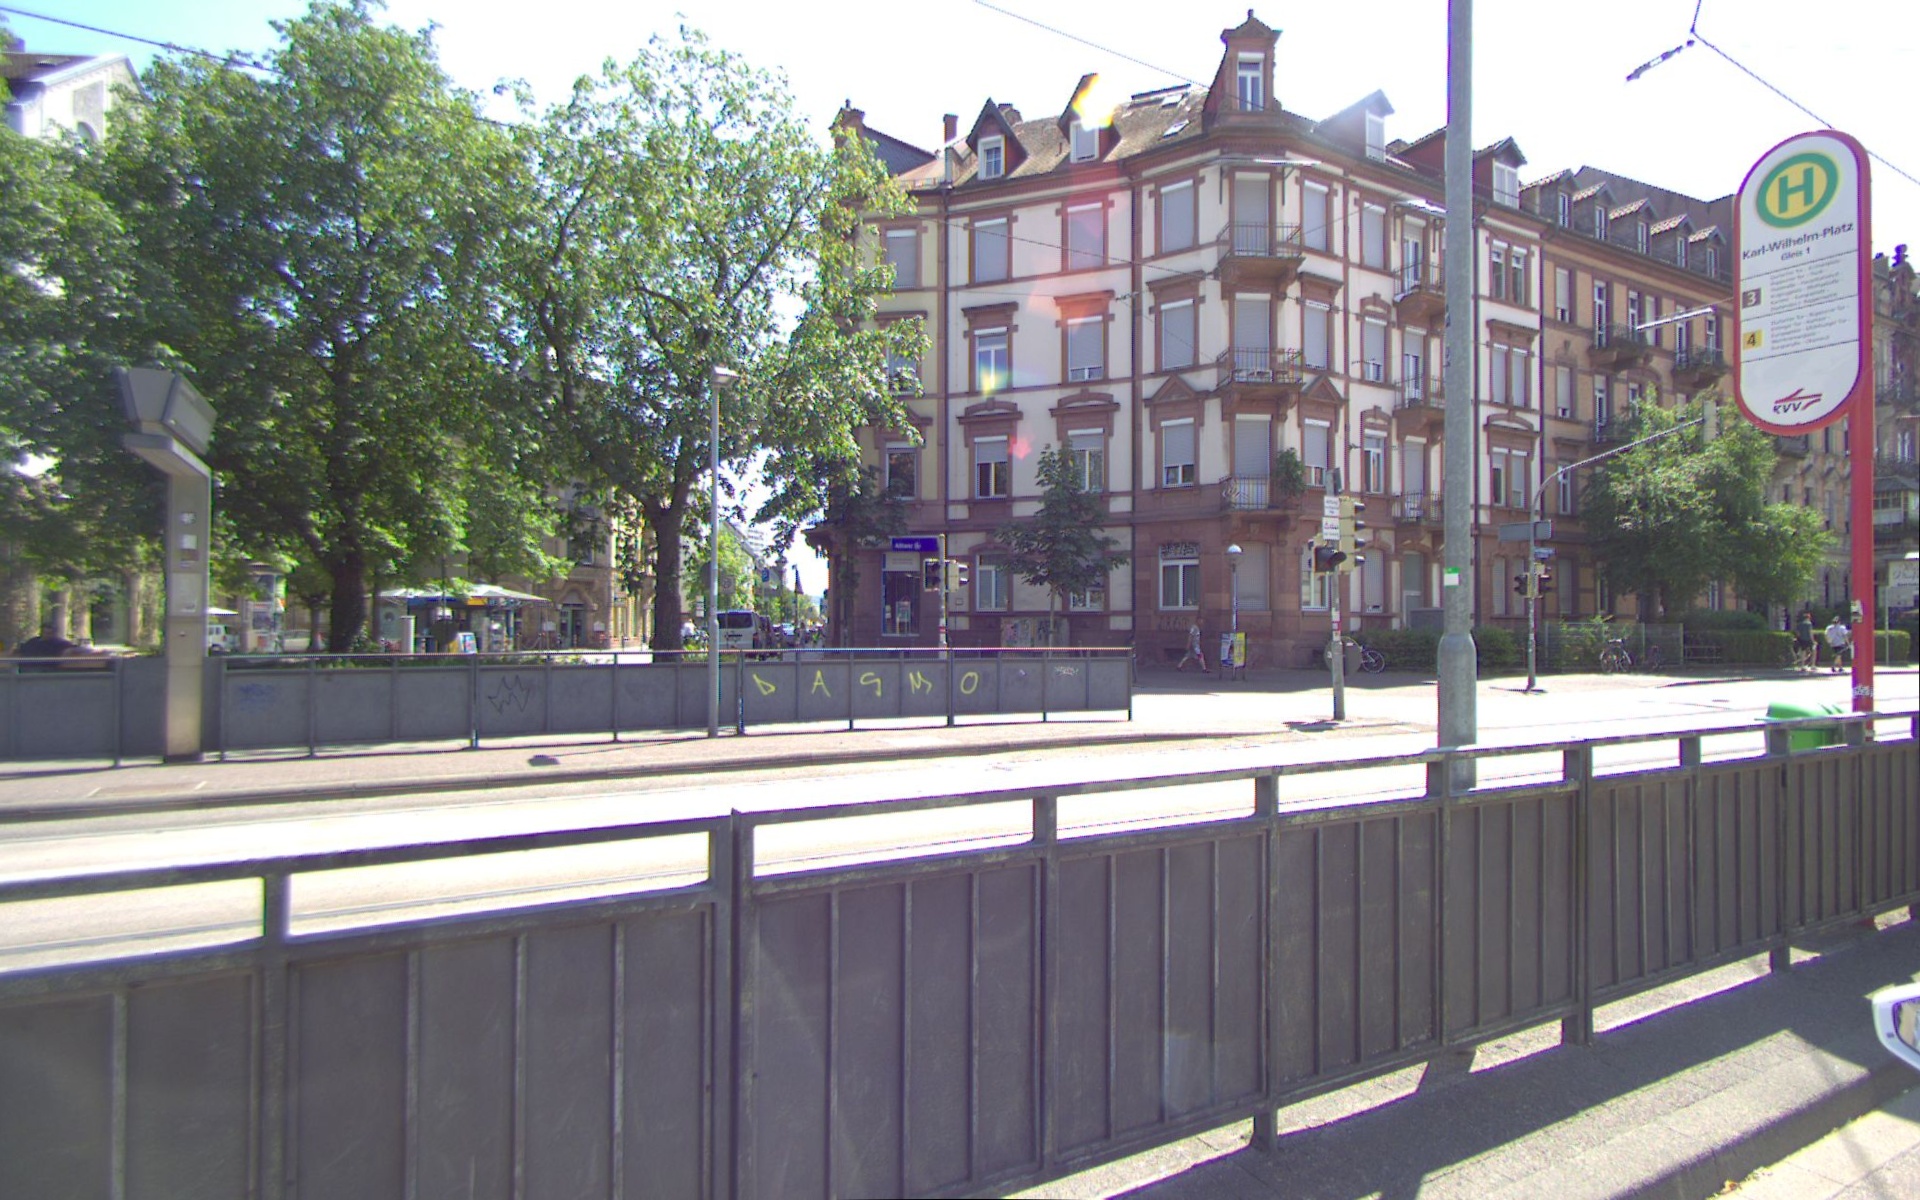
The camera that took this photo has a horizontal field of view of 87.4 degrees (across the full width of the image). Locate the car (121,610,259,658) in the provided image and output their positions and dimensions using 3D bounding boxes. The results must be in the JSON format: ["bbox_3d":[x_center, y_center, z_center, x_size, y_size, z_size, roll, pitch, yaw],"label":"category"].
[{"bbox_3d":[-31.191,1.364,40.820,3.932,1.814,1.994,2,0,-14],"label":"car"}]

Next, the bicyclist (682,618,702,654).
[{"bbox_3d":[-11.969,1.604,44.908,0.687,1.613,0.849,1,-1,-6],"label":"bicyclist"}]

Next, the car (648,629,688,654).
[{"bbox_3d":[-20.661,2.912,71.168,1.846,1.617,3.998,2,0,-4],"label":"car"}]

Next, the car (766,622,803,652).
[{"bbox_3d":[-10.375,2.173,59.458,1.684,1.617,3.998,2,0,-4],"label":"car"}]

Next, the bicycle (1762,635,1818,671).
[{"bbox_3d":[28.524,1.800,34.487,2.750,1.151,0.930,2,0,-39],"label":"bicycle"}]

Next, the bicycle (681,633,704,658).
[{"bbox_3d":[-11.962,2.033,44.889,0.687,1.070,1.765,1,-1,-6],"label":"bicycle"}]

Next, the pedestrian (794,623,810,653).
[{"bbox_3d":[-8.639,2.092,54.792,0.790,1.632,0.731,0,-1,-4],"label":"pedestrian"}]

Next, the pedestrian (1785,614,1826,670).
[{"bbox_3d":[28.420,1.396,33.777,0.863,1.847,0.812,0,1,-31],"label":"pedestrian"}]

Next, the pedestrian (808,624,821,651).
[{"bbox_3d":[-8.960,2.315,61.958,0.742,1.632,0.688,0,-1,-4],"label":"pedestrian"}]

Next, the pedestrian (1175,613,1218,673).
[{"bbox_3d":[6.902,1.235,29.288,1.043,1.712,0.721,-1,-1,31],"label":"pedestrian"}]

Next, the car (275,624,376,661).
[{"bbox_3d":[-32.078,2.156,50.895,3.920,1.730,1.761,2,0,-14],"label":"car"}]

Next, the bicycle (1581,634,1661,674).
[{"bbox_3d":[20.226,1.643,30.720,2.742,1.151,0.932,2,0,-31],"label":"bicycle"}]

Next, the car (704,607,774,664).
[{"bbox_3d":[-8.331,1.296,38.221,1.962,1.970,3.998,2,0,-4],"label":"car"}]

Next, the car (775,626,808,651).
[{"bbox_3d":[-12.485,2.839,74.762,1.962,1.617,3.998,2,0,-4],"label":"car"}]

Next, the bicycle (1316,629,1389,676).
[{"bbox_3d":[11.663,1.555,29.867,1.923,1.312,0.564,2,0,11],"label":"bicycle"}]

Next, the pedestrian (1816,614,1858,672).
[{"bbox_3d":[28.909,1.401,33.126,0.863,1.847,0.812,0,1,-31],"label":"pedestrian"}]

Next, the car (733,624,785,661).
[{"bbox_3d":[-9.628,2.007,48.293,1.893,1.541,3.998,2,0,-4],"label":"car"}]

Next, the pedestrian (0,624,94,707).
[{"bbox_3d":[-14.663,1.042,16.110,0.925,1.261,0.860,2,0,-24],"label":"pedestrian"}]
